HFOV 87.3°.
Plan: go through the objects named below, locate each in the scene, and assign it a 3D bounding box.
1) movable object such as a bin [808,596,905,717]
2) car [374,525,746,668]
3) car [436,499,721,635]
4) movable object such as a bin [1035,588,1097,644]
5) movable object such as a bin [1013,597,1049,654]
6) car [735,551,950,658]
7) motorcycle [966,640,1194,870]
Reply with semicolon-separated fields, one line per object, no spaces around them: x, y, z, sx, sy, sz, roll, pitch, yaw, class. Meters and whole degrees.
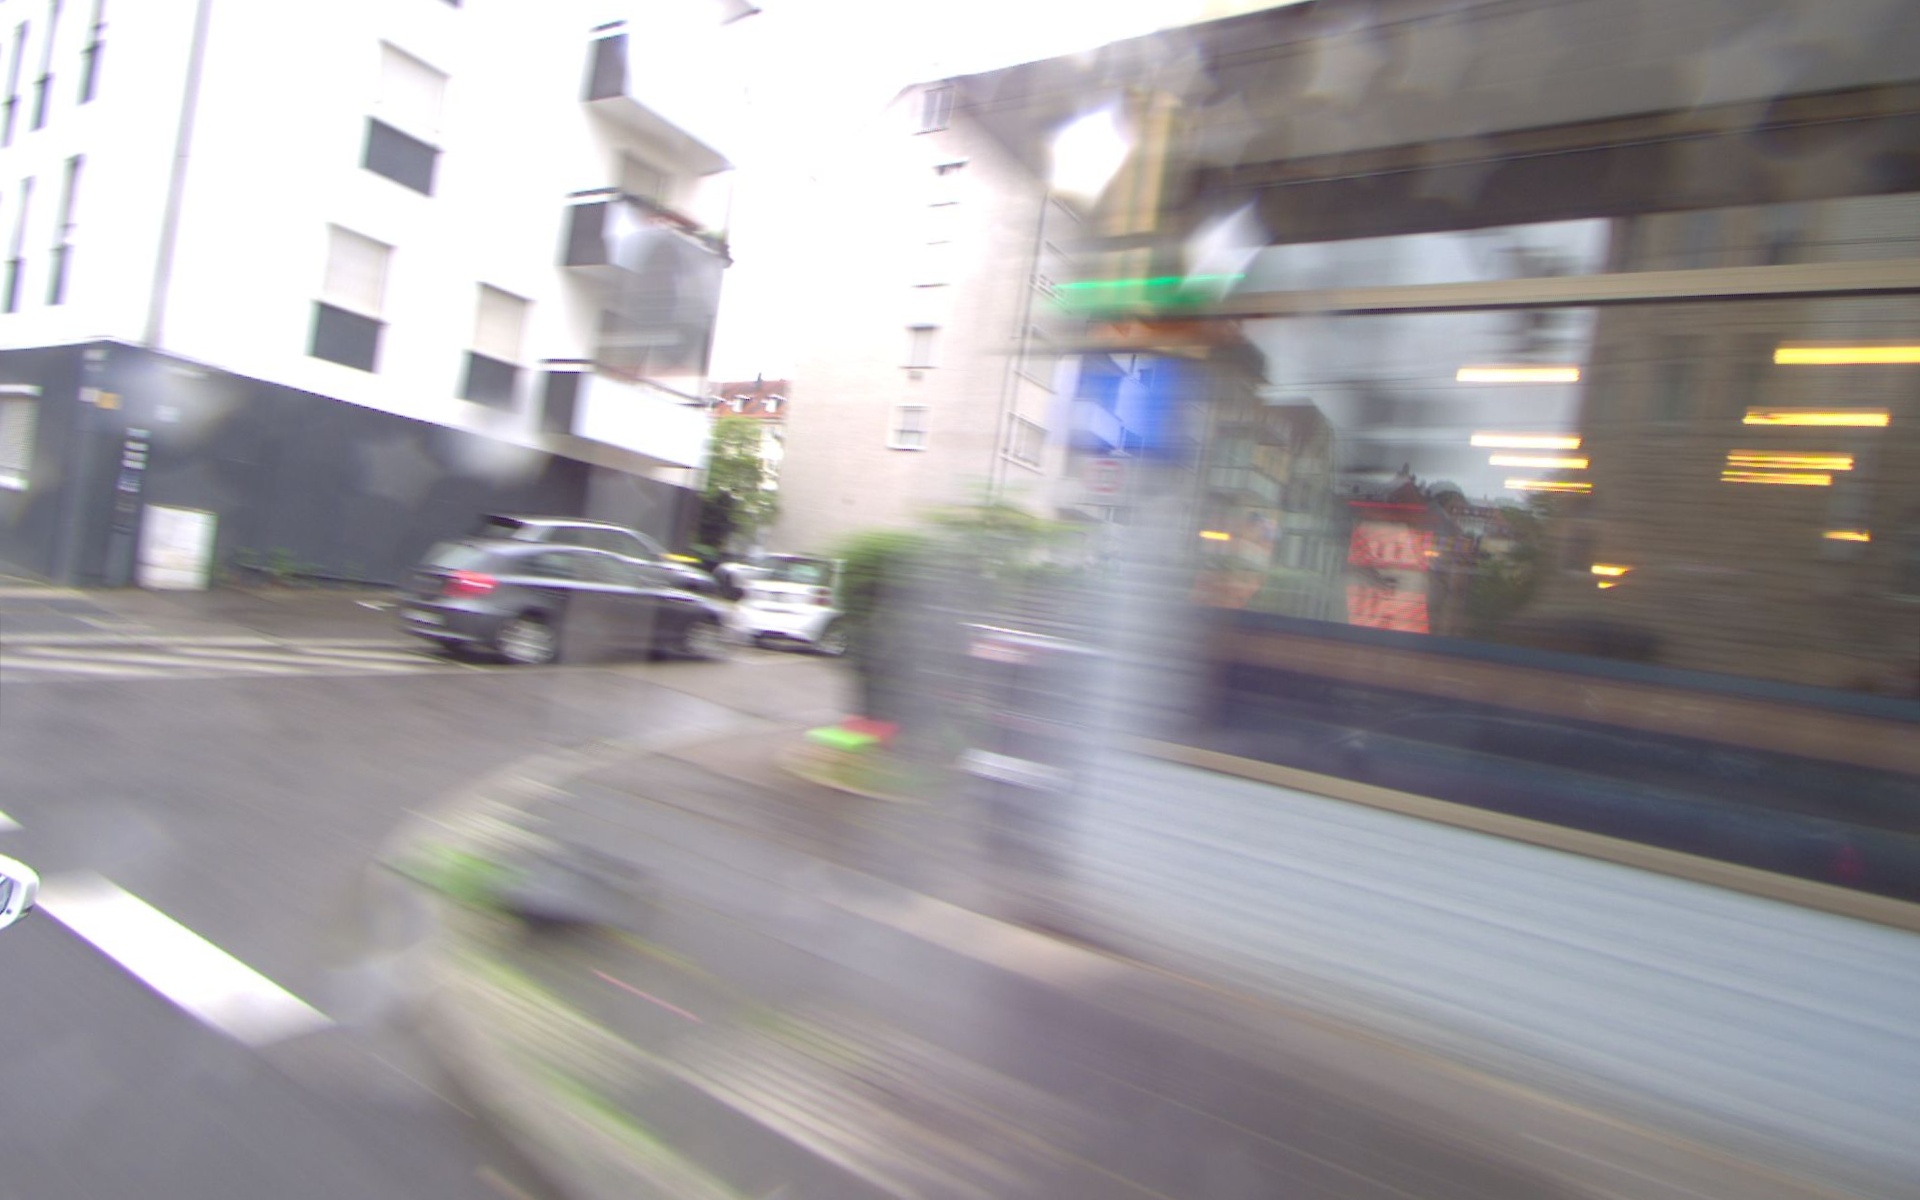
-1.105;0.603;10.782;0.721;1.194;0.601;5;-1;31;movable object such as a bin
-4.830;0.020;12.650;1.734;1.432;3.984;6;1;36;car
-6.192;-0.477;16.709;1.713;1.712;3.983;10;3;38;car
3.137;0.466;29.723;1.332;1.484;1.063;7;1;33;movable object such as a bin
2.056;0.734;29.206;0.621;1.545;0.737;7;0;30;movable object such as a bin
-1.868;0.145;17.219;1.443;1.520;3.992;5;-1;30;car
0.792;0.867;6.182;0.591;1.177;1.643;5;1;36;motorcycle
